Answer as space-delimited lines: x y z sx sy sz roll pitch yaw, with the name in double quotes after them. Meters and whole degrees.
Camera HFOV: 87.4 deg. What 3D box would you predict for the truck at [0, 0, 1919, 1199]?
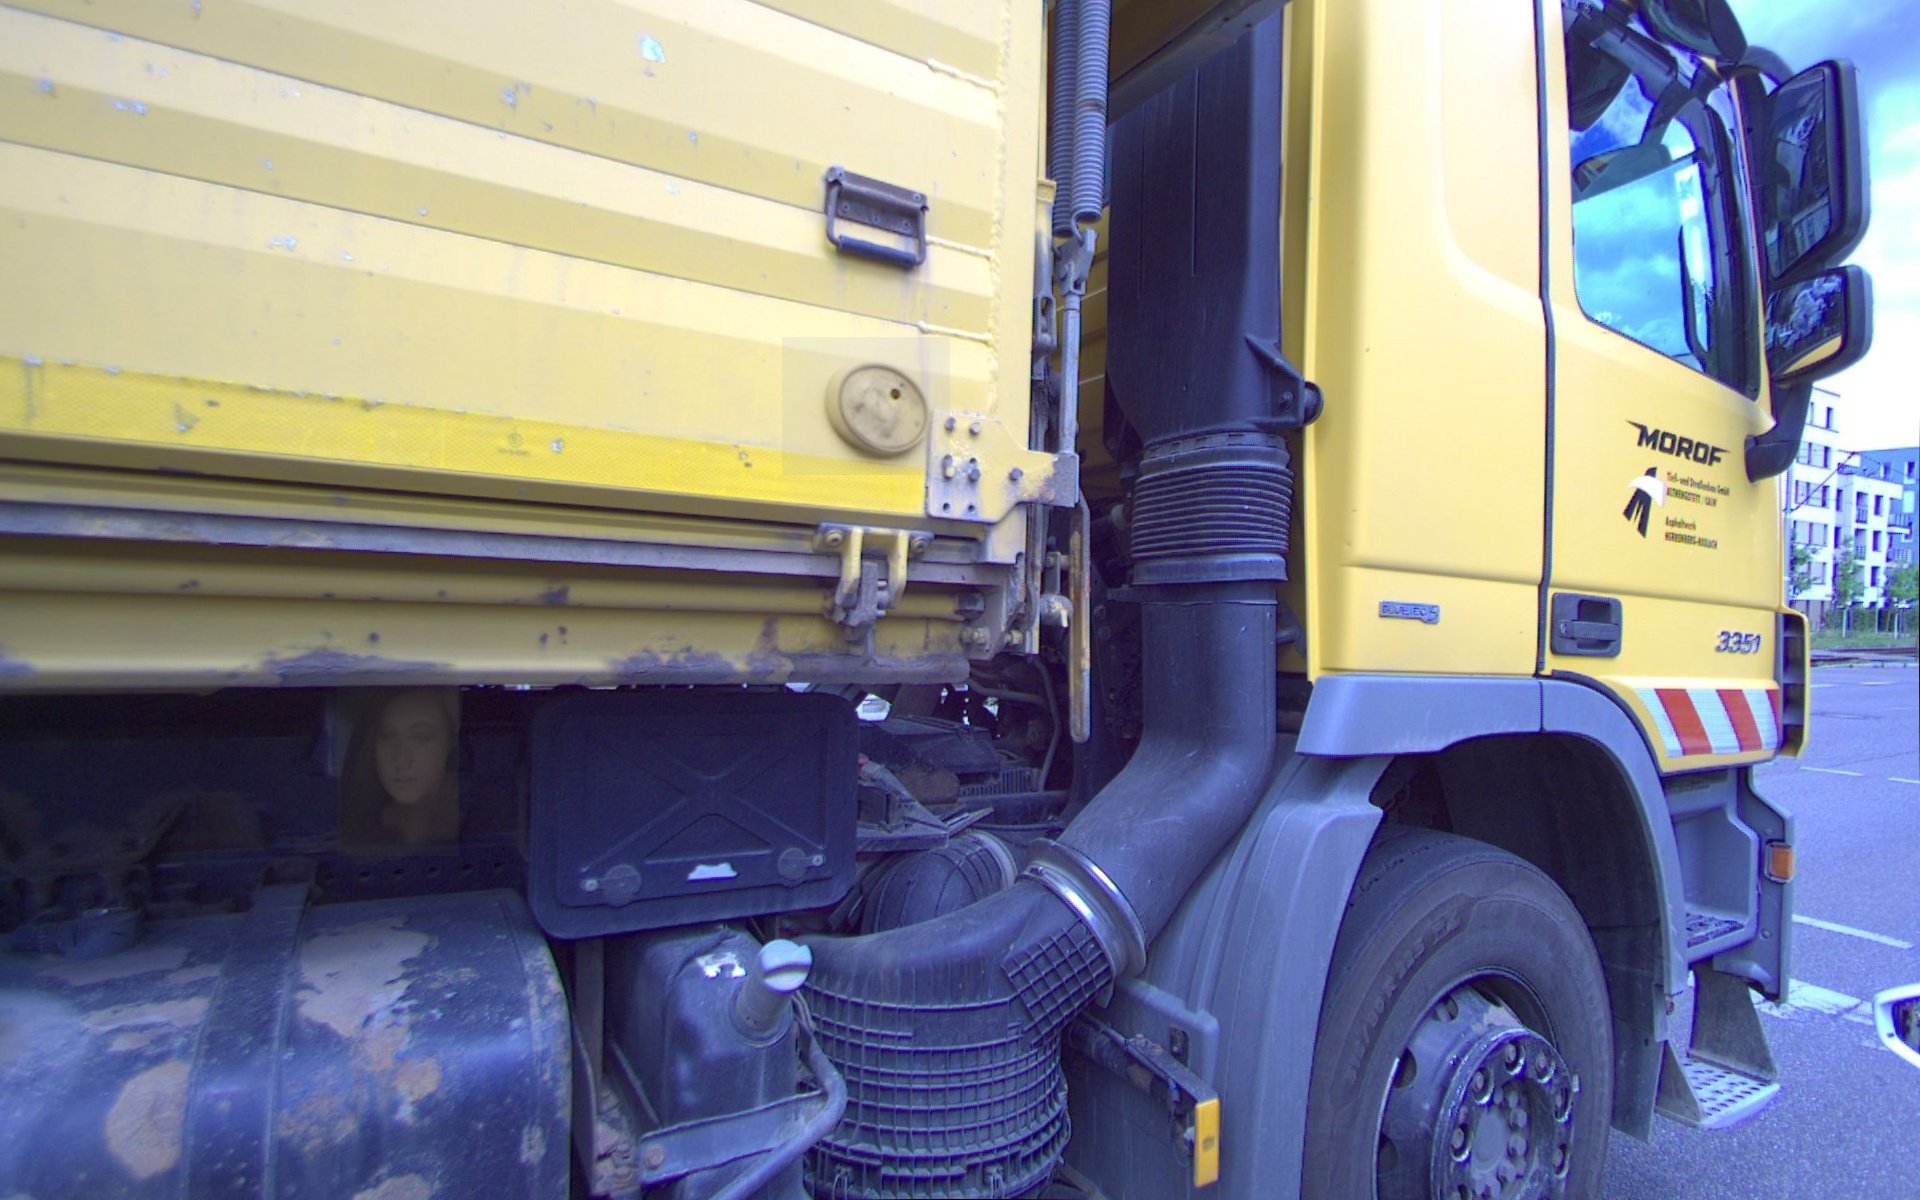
-1.543 -0.040 1.580 7.688 3.043 2.707 2 0 -30 "truck"
